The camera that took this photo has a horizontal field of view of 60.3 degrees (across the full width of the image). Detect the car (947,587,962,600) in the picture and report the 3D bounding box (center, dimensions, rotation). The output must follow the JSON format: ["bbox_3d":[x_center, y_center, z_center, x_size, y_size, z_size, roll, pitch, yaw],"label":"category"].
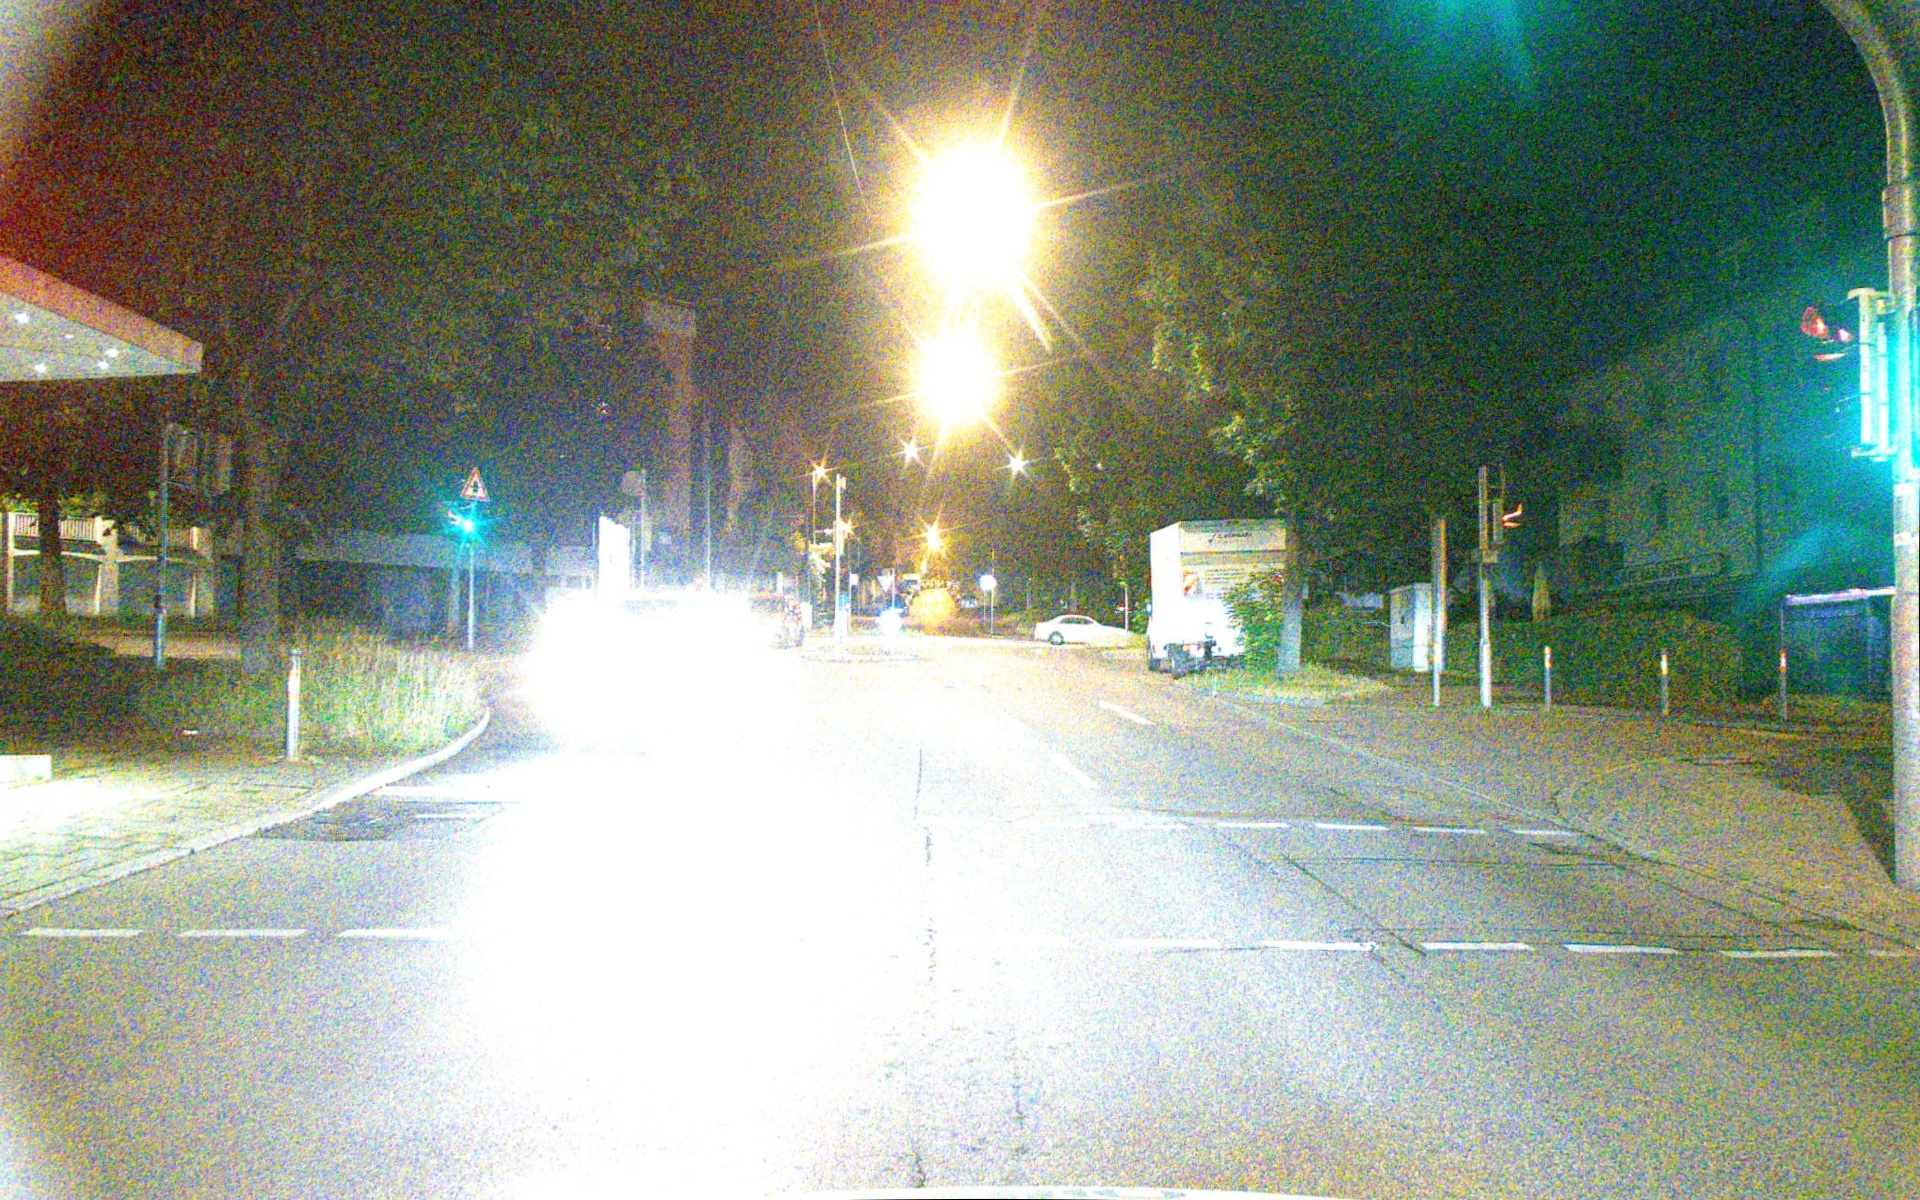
[{"bbox_3d":[-0.648,-0.793,191.476,1.601,1.477,3.484,1,0,-1],"label":"car"}]

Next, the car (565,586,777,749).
[{"bbox_3d":[-3.023,0.654,18.088,1.820,1.561,4.025,1,0,-4],"label":"car"}]

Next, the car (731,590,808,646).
[{"bbox_3d":[-5.442,0.486,47.469,1.548,1.528,3.398,1,0,4],"label":"car"}]

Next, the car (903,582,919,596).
[{"bbox_3d":[-5.530,-1.192,186.877,1.779,1.517,3.998,1,0,-2],"label":"car"}]

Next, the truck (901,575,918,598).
[{"bbox_3d":[-6.432,-1.692,209.502,2.044,2.897,5.828,1,0,-2],"label":"truck"}]

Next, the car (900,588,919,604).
[{"bbox_3d":[-4.876,-0.425,160.493,1.779,1.517,3.998,1,0,-2],"label":"car"}]

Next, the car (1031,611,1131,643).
[{"bbox_3d":[5.689,1.250,77.585,4.470,1.413,1.924,1,0,9],"label":"car"}]

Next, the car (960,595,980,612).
[{"bbox_3d":[0.879,0.302,143.362,1.601,1.477,3.484,1,0,-1],"label":"car"}]

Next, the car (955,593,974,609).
[{"bbox_3d":[0.417,0.075,153.091,1.601,1.477,3.484,1,0,-1],"label":"car"}]

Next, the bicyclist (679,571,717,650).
[{"bbox_3d":[-5.633,0.230,35.588,0.676,1.666,0.896,1,-1,-1],"label":"bicyclist"}]

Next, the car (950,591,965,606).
[{"bbox_3d":[-0.262,-0.160,178.508,1.601,1.477,3.484,1,0,-1],"label":"car"}]

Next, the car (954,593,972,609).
[{"bbox_3d":[0.262,0.112,159.274,1.601,1.477,3.484,1,0,-1],"label":"car"}]

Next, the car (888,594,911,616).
[{"bbox_3d":[-4.896,0.378,134.359,1.778,1.713,3.999,1,0,-1],"label":"car"}]

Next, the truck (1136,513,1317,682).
[{"bbox_3d":[5.407,-0.045,34.621,2.693,3.165,6.257,1,0,0],"label":"truck"}]
